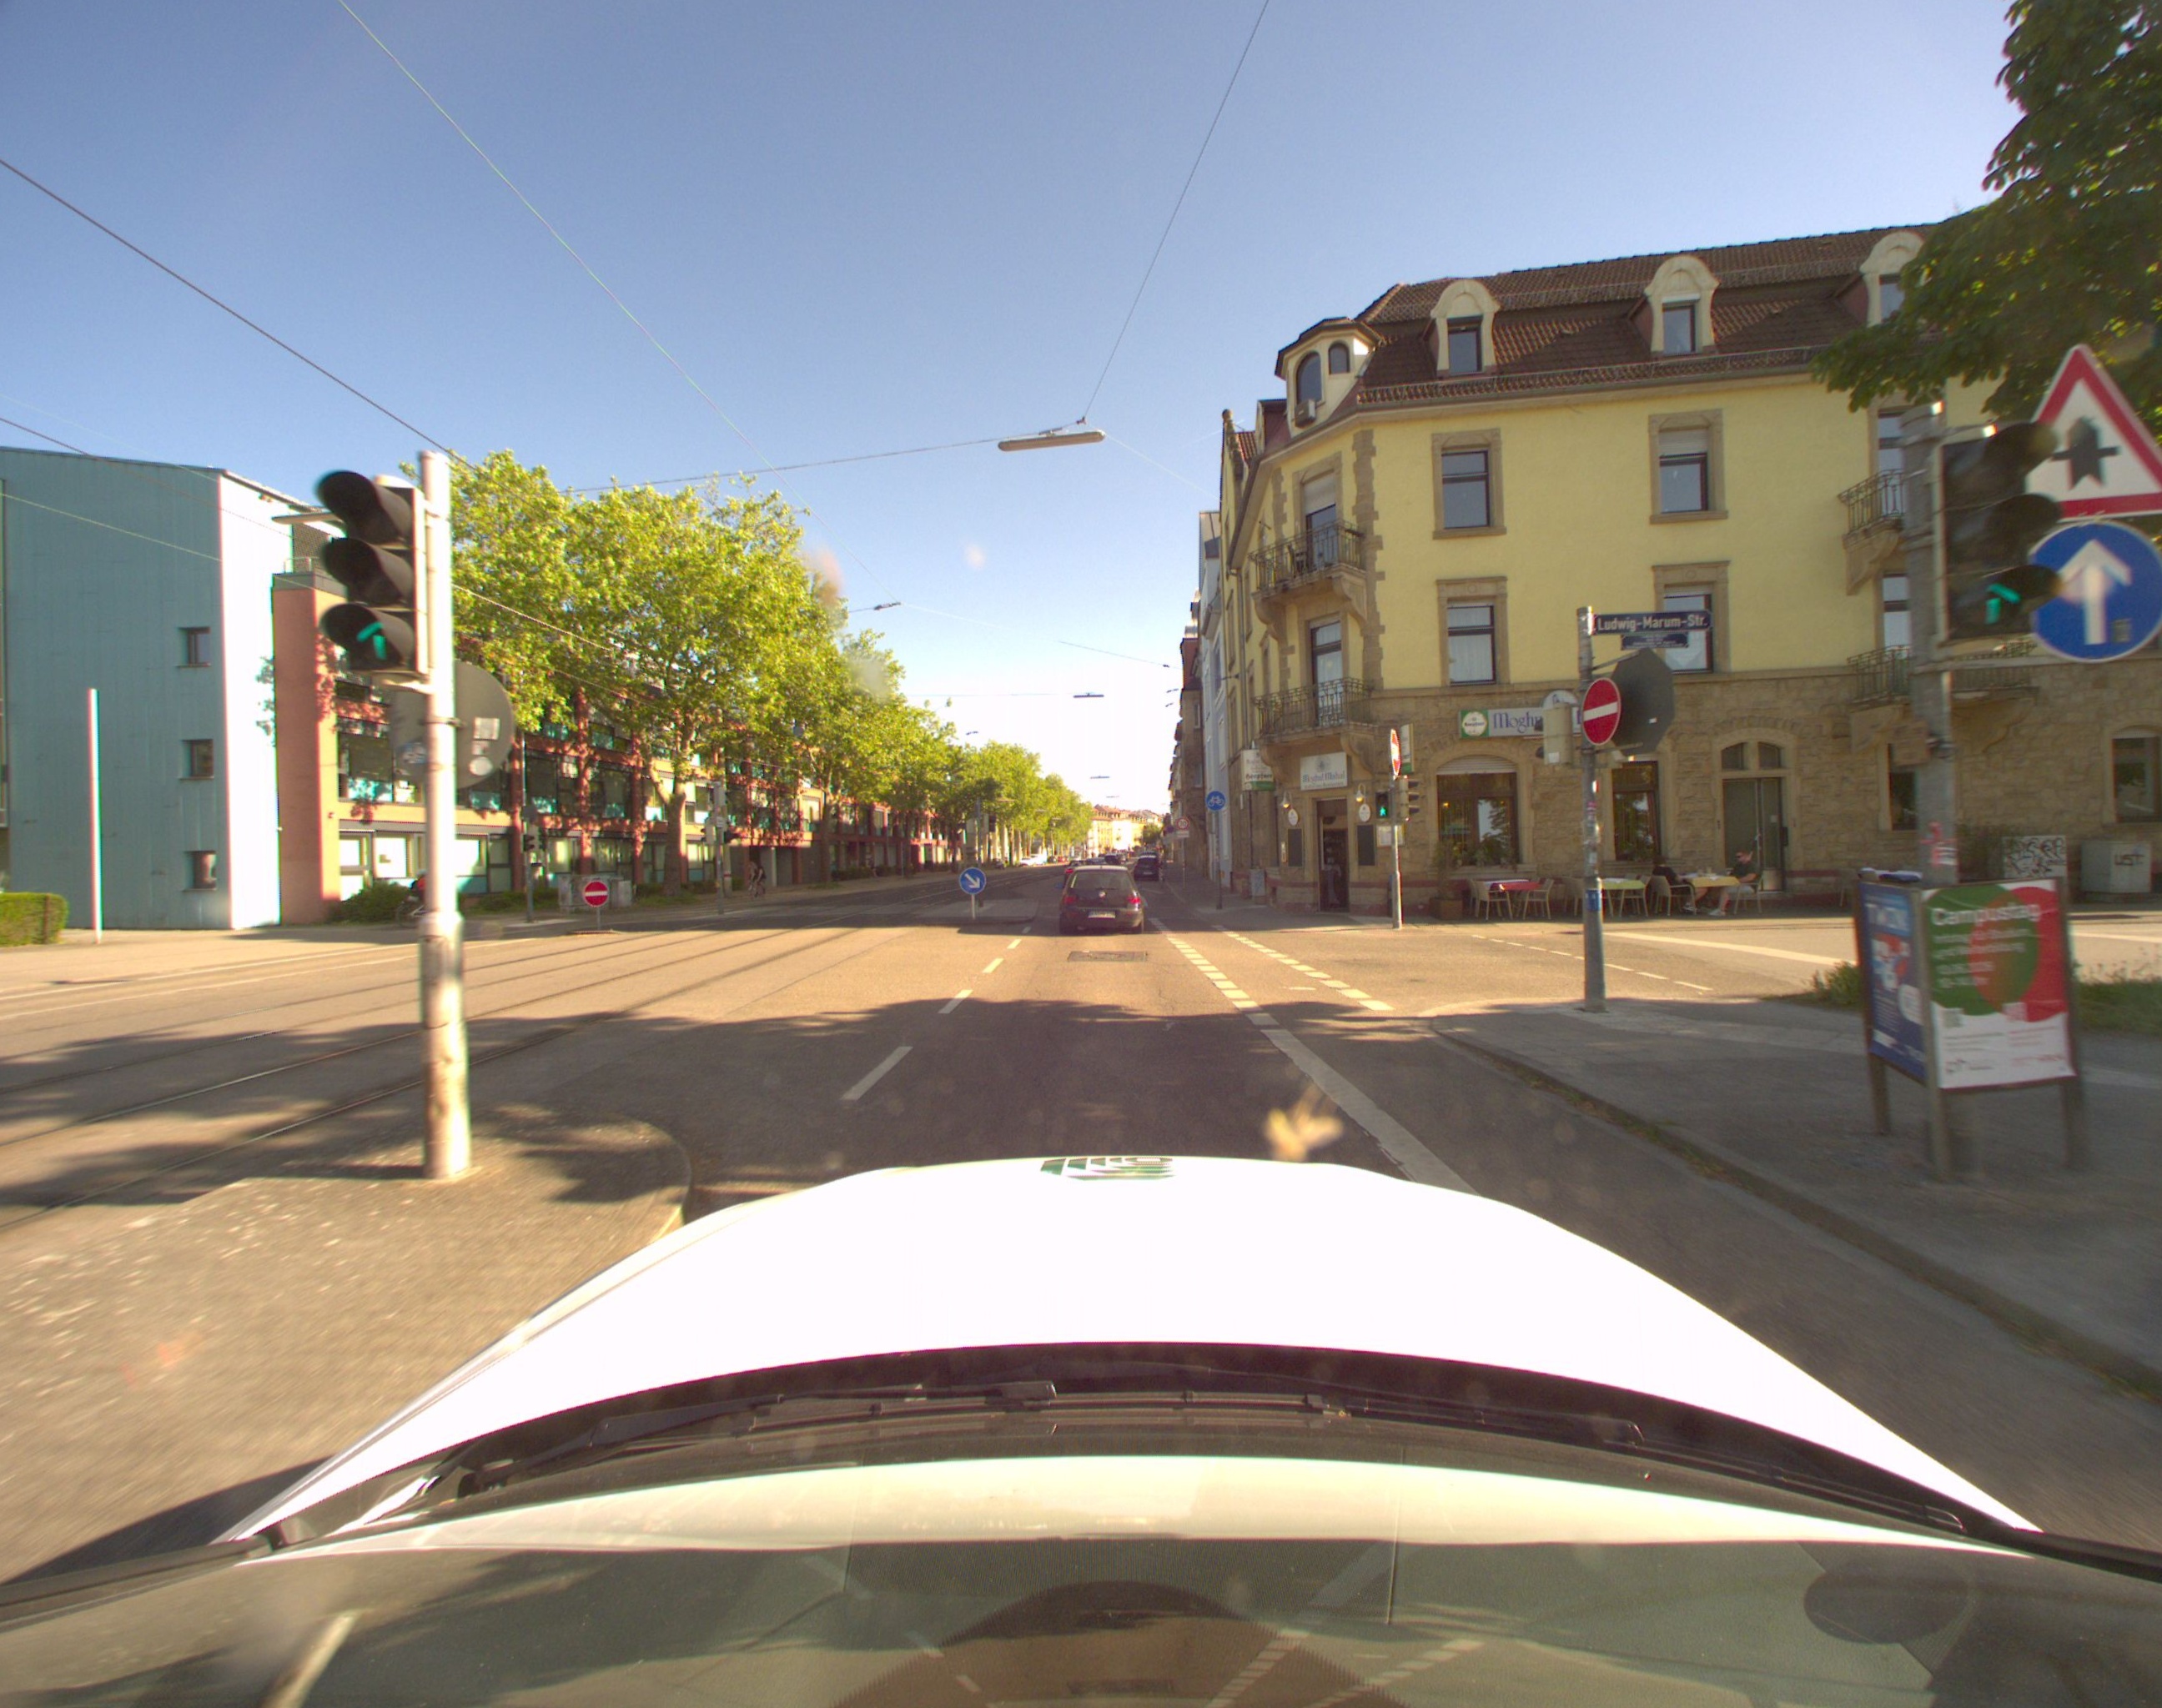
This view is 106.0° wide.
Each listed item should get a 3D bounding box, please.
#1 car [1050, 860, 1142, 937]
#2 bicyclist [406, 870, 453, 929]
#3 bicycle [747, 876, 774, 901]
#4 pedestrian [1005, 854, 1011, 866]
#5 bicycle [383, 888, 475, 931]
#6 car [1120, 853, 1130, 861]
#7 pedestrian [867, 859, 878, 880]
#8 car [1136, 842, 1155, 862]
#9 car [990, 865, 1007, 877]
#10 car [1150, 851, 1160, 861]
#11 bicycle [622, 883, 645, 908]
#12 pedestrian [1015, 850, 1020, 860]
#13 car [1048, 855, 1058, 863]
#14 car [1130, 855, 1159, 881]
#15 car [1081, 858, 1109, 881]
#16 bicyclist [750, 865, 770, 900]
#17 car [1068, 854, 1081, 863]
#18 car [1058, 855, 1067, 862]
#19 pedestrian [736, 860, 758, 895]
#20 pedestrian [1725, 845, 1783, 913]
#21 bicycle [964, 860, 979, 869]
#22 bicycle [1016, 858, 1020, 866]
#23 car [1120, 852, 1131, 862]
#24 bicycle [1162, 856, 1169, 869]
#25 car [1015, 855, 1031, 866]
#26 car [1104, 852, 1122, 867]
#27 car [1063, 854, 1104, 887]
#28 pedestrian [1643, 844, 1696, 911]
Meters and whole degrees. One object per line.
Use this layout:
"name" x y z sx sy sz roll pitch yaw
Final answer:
"car" 0.417 0.886 17.767 1.741 1.375 4.004 -2 0 4
"bicyclist" -19.435 1.332 24.300 0.599 1.692 0.938 0 0 30
"bicycle" -14.928 1.600 37.972 0.643 1.042 1.923 0 0 -4
"pedestrian" -10.995 0.891 122.162 0.785 1.870 0.668 0 0 -10
"bicycle" -19.423 1.628 24.321 0.625 1.129 2.048 0 0 30
"car" 8.020 0.494 147.396 1.628 1.472 3.734 -2 0 5
"pedestrian" -17.419 1.323 67.917 0.622 1.718 0.901 0 0 4
"car" 6.468 -0.182 81.191 1.744 1.855 4.822 -1 0 5
"car" -10.654 2.201 105.443 1.500 1.454 3.468 -2 -2 5
"car" 13.062 0.341 144.442 1.751 1.837 3.552 0 0 5
"bicycle" -18.151 1.676 33.043 0.522 0.906 1.534 -2 0 -19
"pedestrian" -11.723 0.259 150.988 0.793 1.820 0.671 0 0 4
"car" -5.568 0.942 164.098 1.563 1.533 3.577 -2 -1 5
"car" 3.923 0.824 50.212 1.647 1.482 4.005 -1 0 4
"car" 1.075 1.085 59.955 1.740 1.537 3.898 -2 0 5
"bicyclist" -14.929 1.316 37.933 0.643 1.611 0.780 0 0 -4
"car" -1.294 0.872 162.845 1.742 1.518 4.083 -4 0 10
"car" -4.161 1.067 180.628 1.563 1.533 3.577 -2 -1 5
"pedestrian" -19.135 1.338 46.674 0.908 2.013 0.780 0 0 -4
"pedestrian" 13.780 0.493 16.686 0.635 1.360 0.703 0 0 6
"bicycle" -15.097 1.458 112.175 1.999 1.278 0.665 0 0 5
"bicycle" -9.576 1.183 124.064 0.579 1.209 1.653 0 0 -1
"car" 7.220 0.507 131.268 1.628 1.472 3.734 -2 0 5
"bicycle" 8.141 0.799 78.594 0.512 1.139 2.261 -3 0 4
"car" -9.181 1.002 129.625 2.003 1.572 4.698 0 1 3
"car" 3.379 0.606 85.285 1.628 1.472 3.734 -2 0 5
"car" 0.180 0.833 42.950 1.740 1.537 3.898 -2 0 5
"pedestrian" 12.194 0.472 16.894 0.635 1.360 0.703 0 0 6
